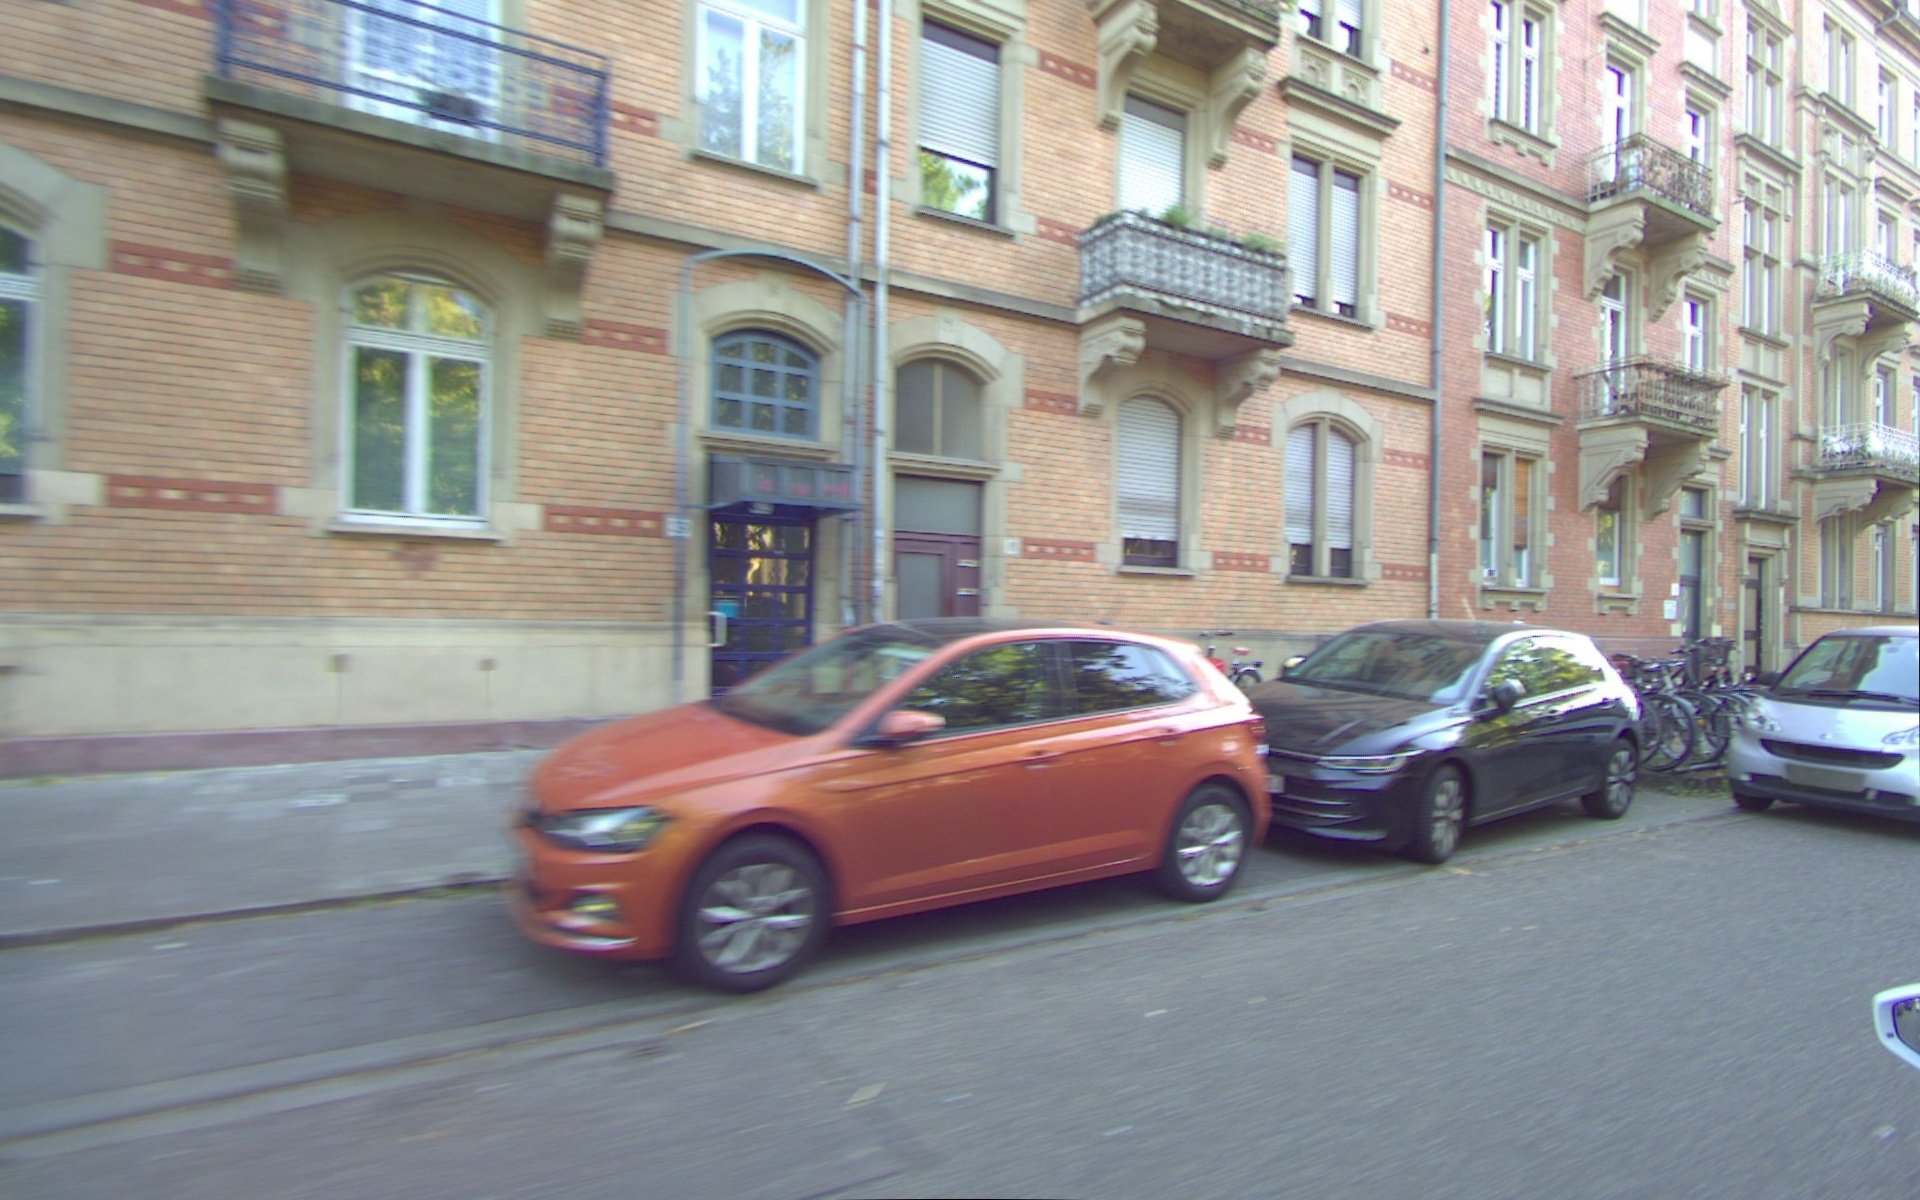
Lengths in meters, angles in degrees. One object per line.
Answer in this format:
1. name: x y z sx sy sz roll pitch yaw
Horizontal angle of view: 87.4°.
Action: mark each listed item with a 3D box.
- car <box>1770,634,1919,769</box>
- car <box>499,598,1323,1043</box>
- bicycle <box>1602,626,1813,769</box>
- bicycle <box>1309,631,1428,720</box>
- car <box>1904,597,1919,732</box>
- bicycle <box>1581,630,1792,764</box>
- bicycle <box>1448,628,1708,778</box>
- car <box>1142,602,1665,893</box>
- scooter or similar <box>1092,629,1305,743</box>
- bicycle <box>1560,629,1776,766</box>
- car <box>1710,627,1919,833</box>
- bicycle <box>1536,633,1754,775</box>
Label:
1. car: 12.031 1.172 12.482 4.160 1.473 1.667 2 -2 -30
2. car: -0.133 0.806 5.273 3.956 1.484 1.743 1 1 -32
3. bicycle: 8.060 1.005 10.920 0.490 1.365 1.755 3 -1 -30
4. bicycle: 5.574 1.038 13.677 1.746 1.145 0.425 3 -1 -27
5. car: 16.408 1.074 15.095 4.984 1.946 1.983 4 -1 -32
6. bicycle: 7.626 0.977 10.636 0.423 1.231 1.755 3 -1 -30
7. bicycle: 5.922 0.937 9.751 0.439 1.231 2.067 3 -1 -45
8. car: 3.439 0.874 7.483 4.113 1.567 1.734 2 0 -37
9. scooter or similar: 2.926 1.035 12.167 2.673 1.238 0.779 4 -1 -31
10. bicycle: 7.218 0.950 10.333 0.459 1.231 1.755 3 -1 -30
11. car: 7.761 0.966 8.241 2.716 1.454 1.499 1 -2 -26
12. bicycle: 6.787 0.984 10.056 0.436 1.231 1.755 3 -1 -30
